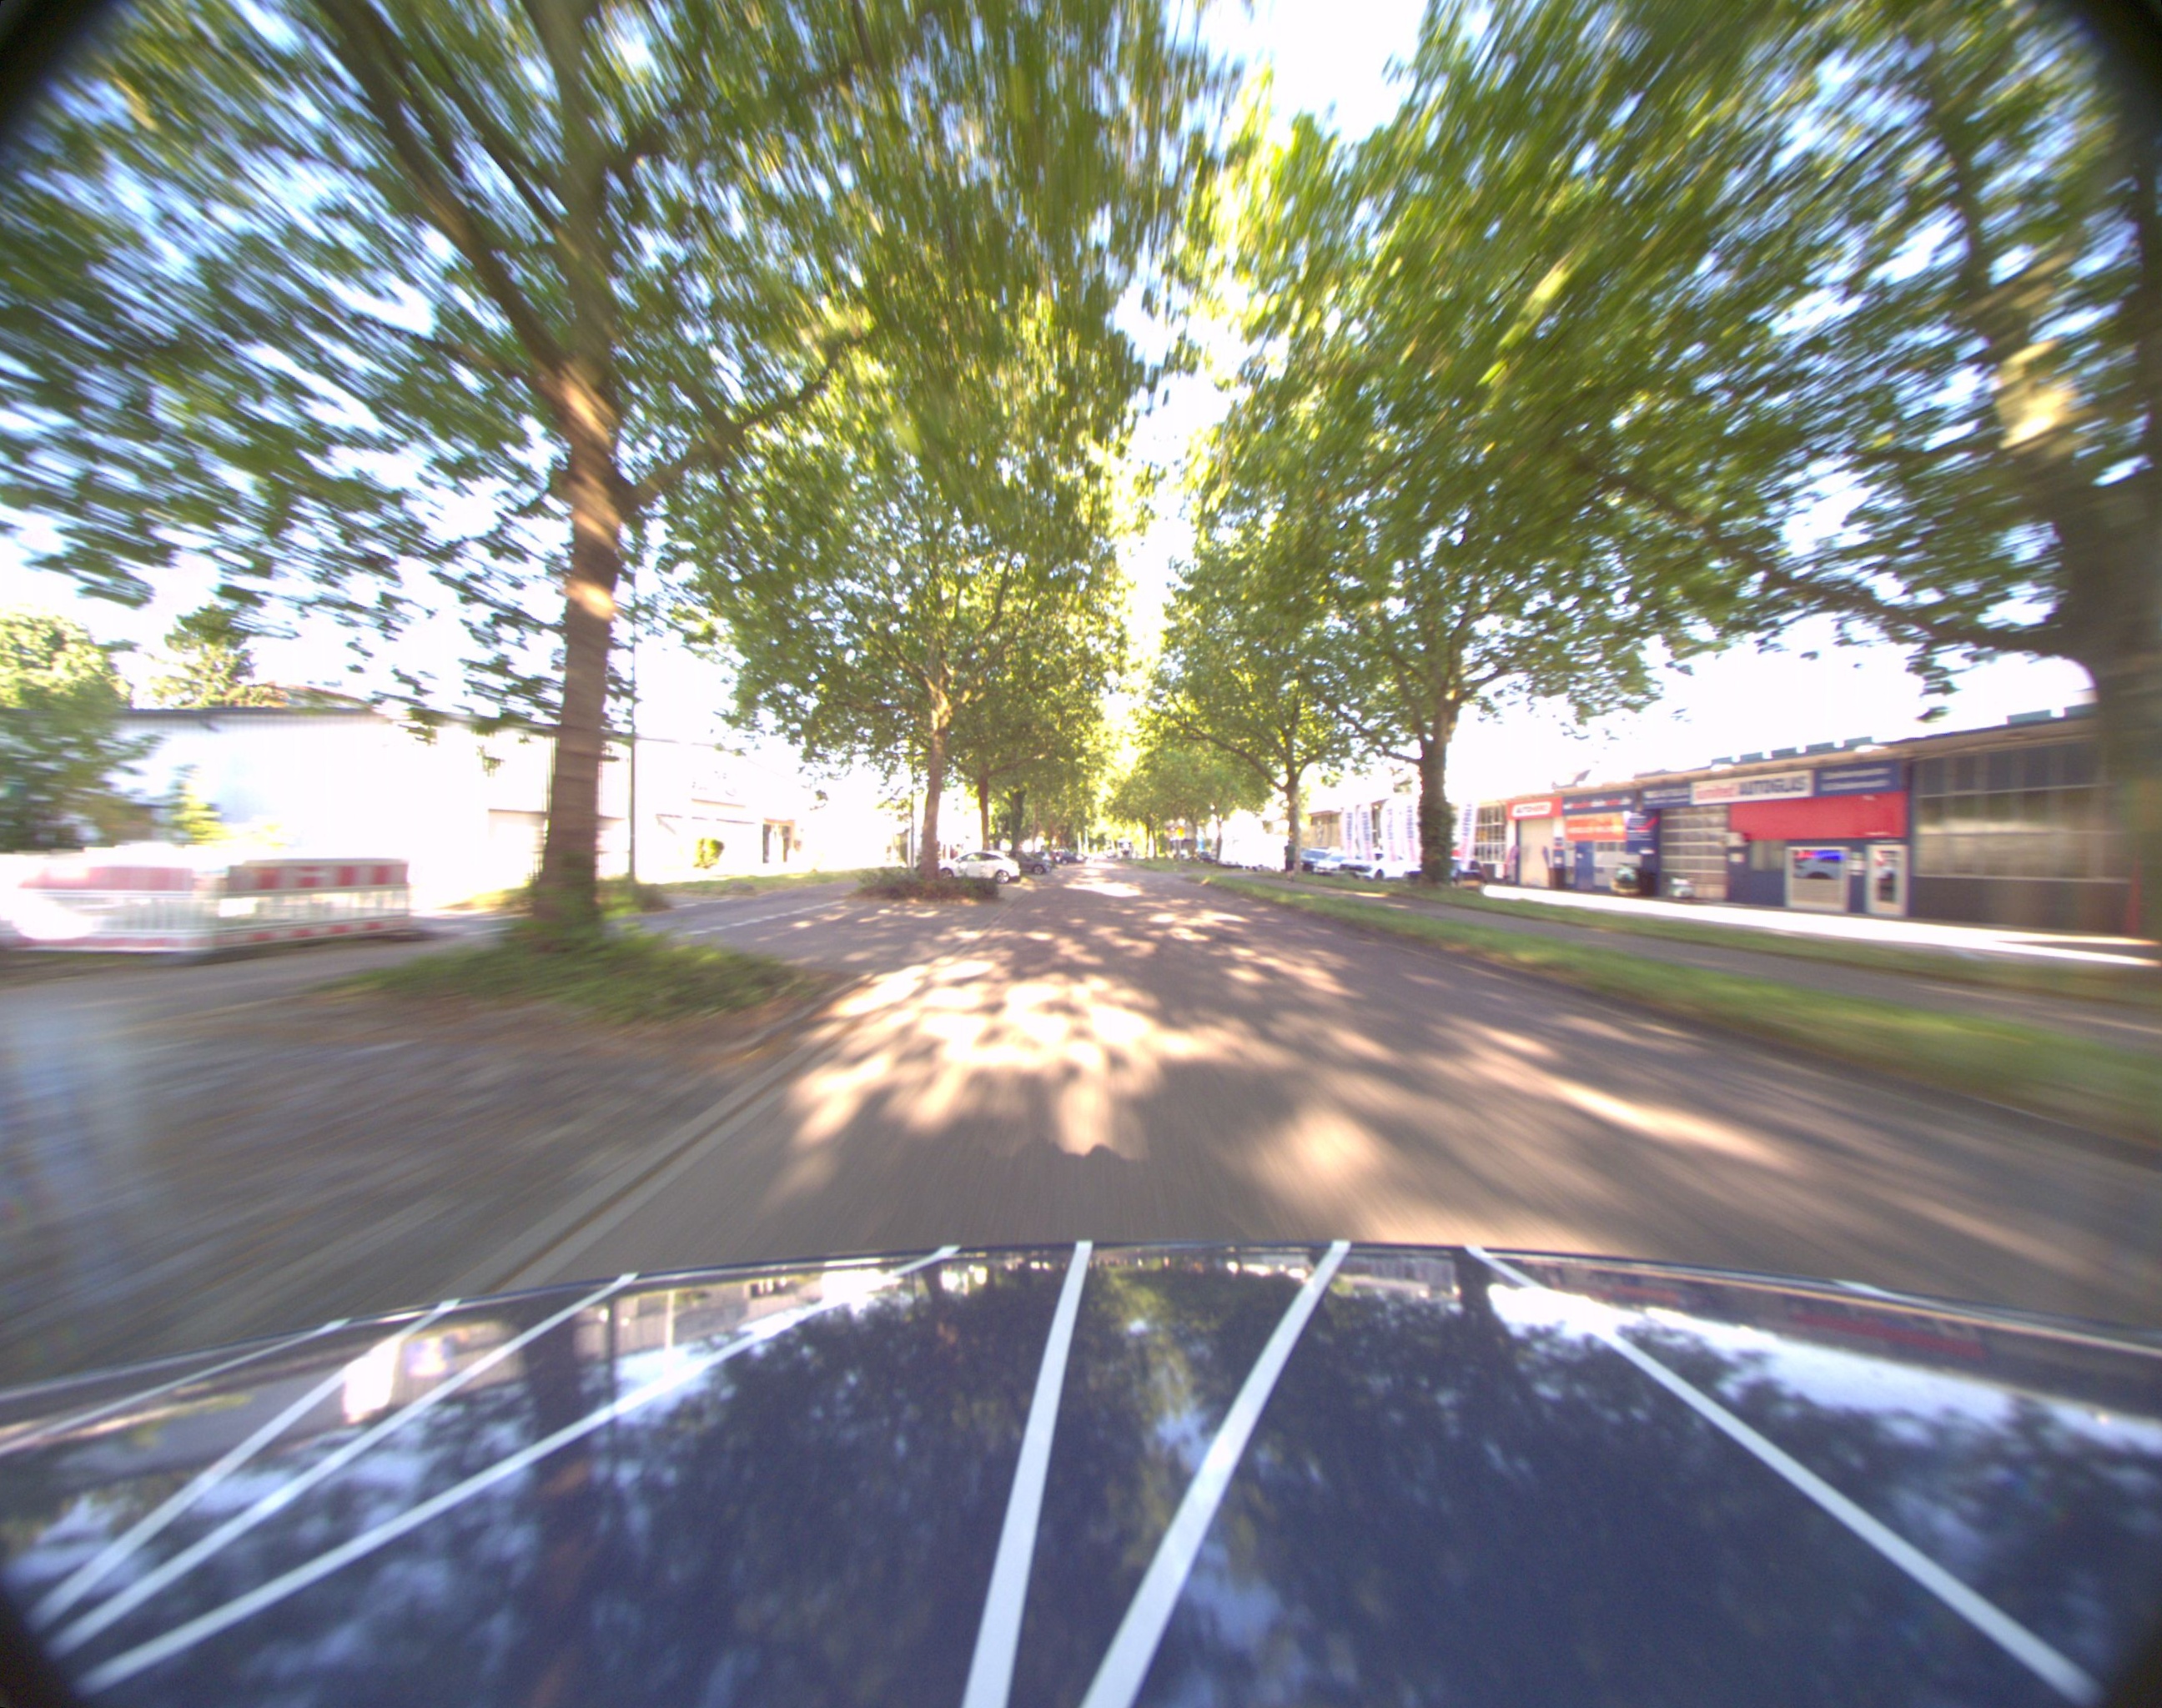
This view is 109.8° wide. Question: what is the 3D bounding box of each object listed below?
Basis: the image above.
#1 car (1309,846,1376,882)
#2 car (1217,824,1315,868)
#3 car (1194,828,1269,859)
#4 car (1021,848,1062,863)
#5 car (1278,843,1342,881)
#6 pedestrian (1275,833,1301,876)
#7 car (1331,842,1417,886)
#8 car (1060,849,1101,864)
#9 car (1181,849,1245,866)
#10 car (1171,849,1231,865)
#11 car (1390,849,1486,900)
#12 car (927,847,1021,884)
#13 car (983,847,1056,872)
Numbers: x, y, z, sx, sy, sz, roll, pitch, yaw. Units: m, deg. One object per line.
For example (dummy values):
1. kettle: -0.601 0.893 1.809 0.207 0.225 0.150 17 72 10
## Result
1. car: 13.251 0.486 38.336 1.994 1.562 4.058 -1 2 38
2. car: 13.704 -0.550 56.160 6.971 2.836 2.595 2 0 -28
3. car: 13.481 -0.892 67.928 6.337 2.482 2.595 2 0 -29
4. car: -4.263 0.157 81.117 4.299 1.410 1.999 2 2 -5
5. car: 12.801 0.408 42.275 1.994 1.830 4.256 -1 2 38
6. pedestrian: 8.748 0.018 32.109 0.805 1.763 0.940 -2 2 2
7. car: 13.660 0.415 35.348 4.320 1.741 1.994 -4 3 -43
8. car: -0.035 0.260 83.672 4.296 1.410 2.000 2 2 3
9. car: 14.863 0.392 85.643 6.428 1.670 2.722 2 -1 -18
10. car: 13.987 0.341 88.484 6.376 1.670 2.722 2 -1 -18
11. car: 13.159 0.694 27.914 1.994 1.566 3.849 0 3 45
12. car: -4.783 0.491 34.256 3.944 1.505 1.666 1 2 0
13. car: -3.861 0.349 47.748 4.405 1.410 1.999 2 2 -5
